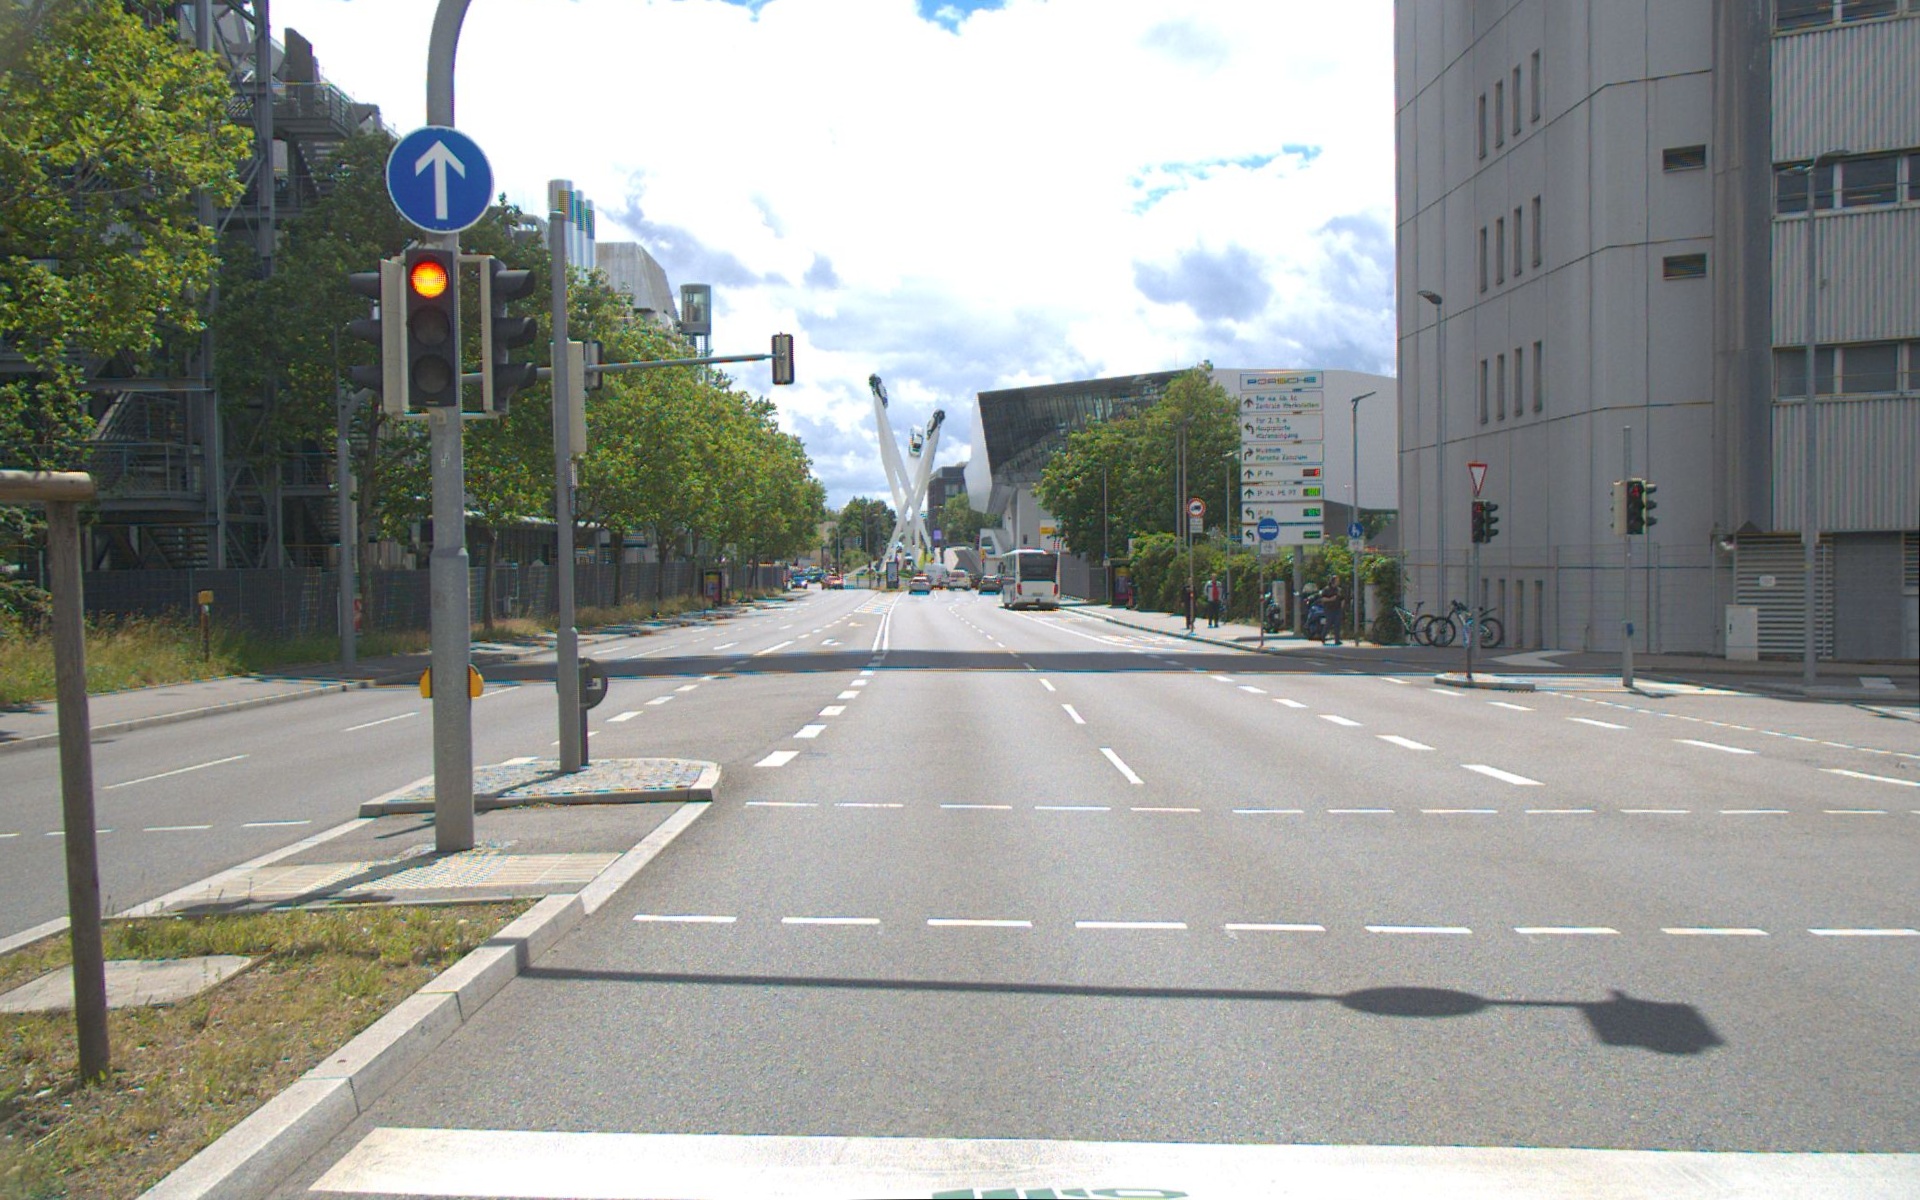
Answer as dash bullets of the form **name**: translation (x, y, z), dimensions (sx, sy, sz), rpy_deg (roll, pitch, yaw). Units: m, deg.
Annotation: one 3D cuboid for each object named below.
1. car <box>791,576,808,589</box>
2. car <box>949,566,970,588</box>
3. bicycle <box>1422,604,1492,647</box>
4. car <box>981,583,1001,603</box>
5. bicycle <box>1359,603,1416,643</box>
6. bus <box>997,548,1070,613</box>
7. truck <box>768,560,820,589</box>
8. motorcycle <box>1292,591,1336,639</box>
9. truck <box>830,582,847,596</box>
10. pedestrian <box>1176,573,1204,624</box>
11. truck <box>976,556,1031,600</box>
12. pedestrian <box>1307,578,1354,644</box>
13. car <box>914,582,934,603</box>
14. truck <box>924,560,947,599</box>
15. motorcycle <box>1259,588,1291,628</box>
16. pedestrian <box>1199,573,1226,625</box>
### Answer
- **car**: translation (-19.729, -2.183, 203.497), dimensions (1.782, 1.564, 3.678), rpy_deg (-2, 0, -1)
- **car**: translation (-0.062, -2.252, 165.572), dimensions (1.952, 2.049, 4.000), rpy_deg (1, -1, 1)
- **bicycle**: translation (11.649, 0.585, 38.843), dimensions (0.392, 0.953, 1.912), rpy_deg (0, 0, -26)
- **car**: translation (2.741, -0.621, 146.198), dimensions (1.703, 1.772, 3.691), rpy_deg (0, 0, -1)
- **bicycle**: translation (10.615, 0.552, 41.115), dimensions (0.391, 0.953, 1.917), rpy_deg (0, 0, -19)
- **bus**: translation (4.176, -1.101, 96.341), dimensions (3.383, 3.605, 10.601), rpy_deg (0, 0, -2)
- **truck**: translation (-23.453, -3.589, 234.036), dimensions (7.005, 3.962, 2.453), rpy_deg (2, -1, -38)
- **motorcycle**: translation (9.618, 0.393, 45.022), dimensions (0.692, 1.224, 2.024), rpy_deg (-2, 1, -1)
- **truck**: translation (-13.541, -1.244, 184.520), dimensions (1.555, 1.564, 3.669), rpy_deg (0, 0, -11)
- **pedestrian**: translation (7.955, -0.047, 57.243), dimensions (0.803, 1.737, 0.881), rpy_deg (0, 0, -1)
- **truck**: translation (4.543, -2.221, 171.593), dimensions (3.379, 4.468, 9.426), rpy_deg (0, 0, 17)
- **pedestrian**: translation (9.385, 0.265, 41.918), dimensions (0.834, 1.653, 0.951), rpy_deg (0, 0, 40)
- **car**: translation (-3.103, -0.680, 143.530), dimensions (1.703, 1.772, 3.691), rpy_deg (0, 0, -1)
- **truck**: translation (-2.538, -2.094, 172.086), dimensions (2.343, 3.965, 6.176), rpy_deg (0, 0, -1)
- **motorcycle**: translation (10.064, 0.237, 52.889), dimensions (0.562, 1.224, 2.024), rpy_deg (-2, 1, -1)
- **pedestrian**: translation (8.752, -0.038, 57.344), dimensions (0.803, 1.772, 0.637), rpy_deg (0, 0, -1)
